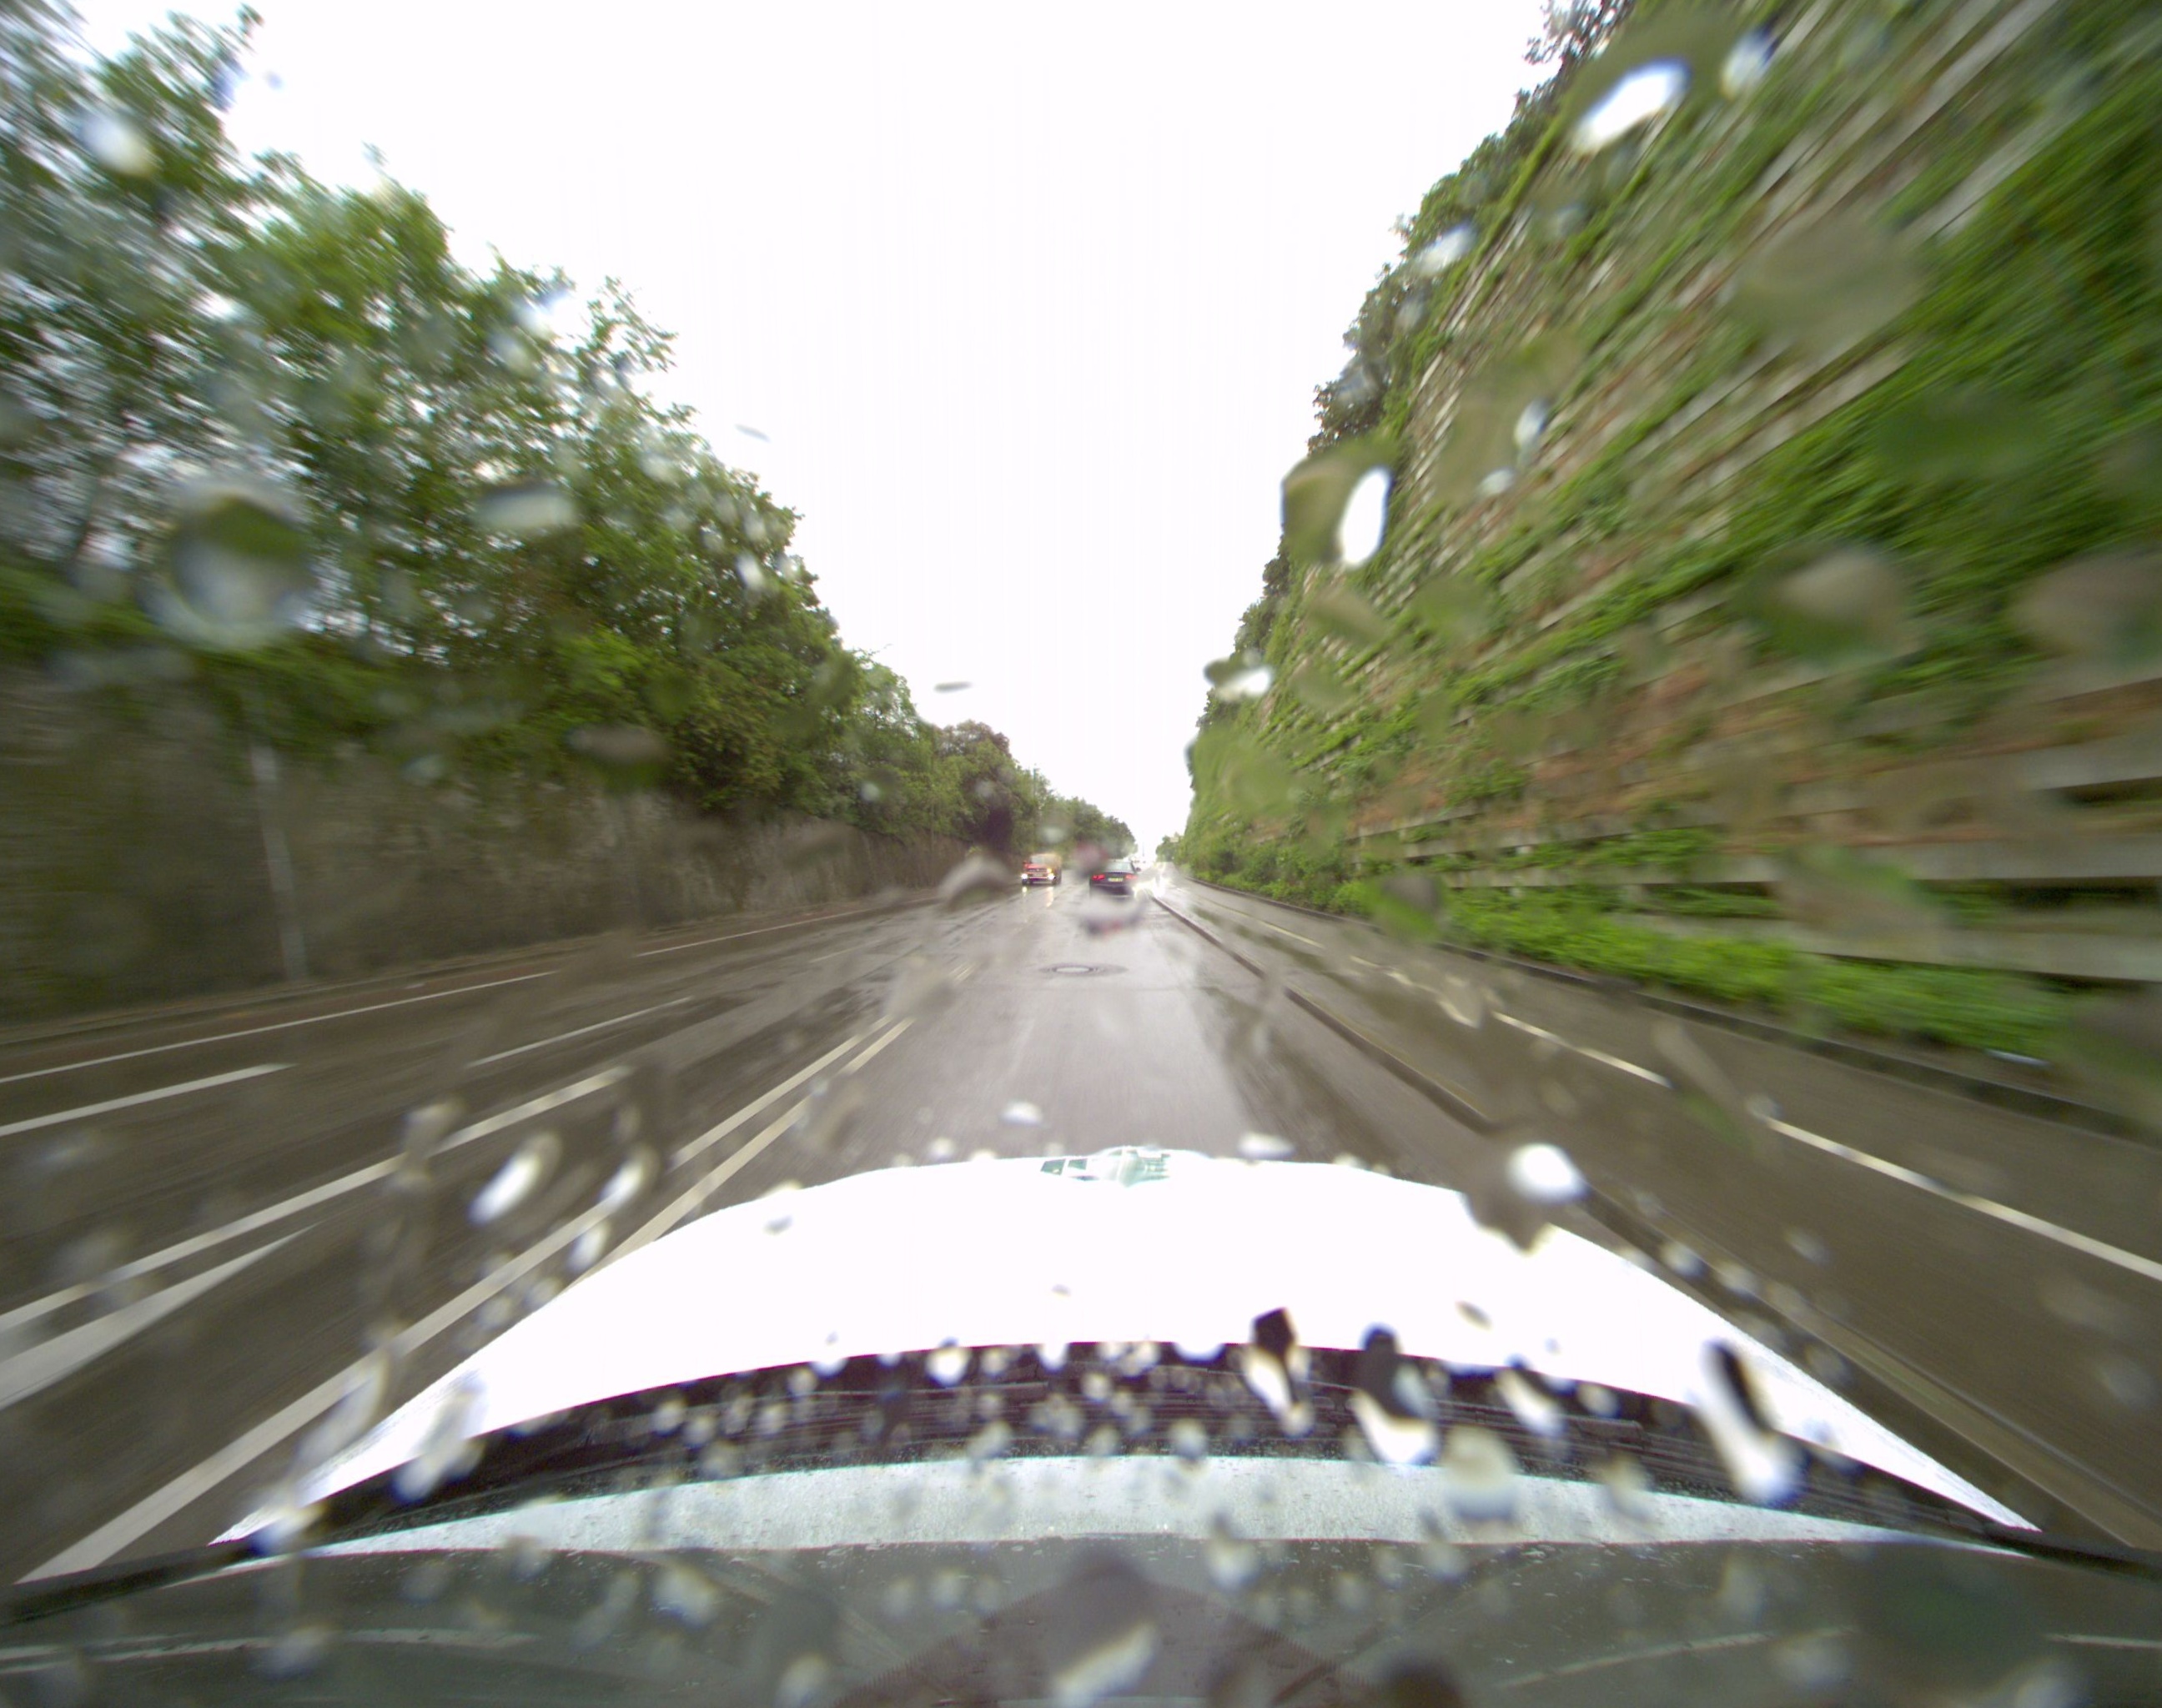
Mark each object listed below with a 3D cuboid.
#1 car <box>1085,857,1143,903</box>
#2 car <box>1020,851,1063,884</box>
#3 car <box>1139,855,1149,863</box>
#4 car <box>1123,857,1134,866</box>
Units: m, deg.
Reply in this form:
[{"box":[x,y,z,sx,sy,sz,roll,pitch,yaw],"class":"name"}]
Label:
[{"box":[1.228,0.892,29.249,1.885,1.492,4.210,-1,-1,3],"class":"car"},{"box":[-2.005,0.722,42.668,1.725,1.618,4.004,-1,-1,4],"class":"car"},{"box":[13.475,1.059,174.522,1.813,1.615,4.101,-1,-2,8],"class":"car"},{"box":[8.447,1.297,143.639,1.856,1.449,4.382,-1,-1,4],"class":"car"}]
